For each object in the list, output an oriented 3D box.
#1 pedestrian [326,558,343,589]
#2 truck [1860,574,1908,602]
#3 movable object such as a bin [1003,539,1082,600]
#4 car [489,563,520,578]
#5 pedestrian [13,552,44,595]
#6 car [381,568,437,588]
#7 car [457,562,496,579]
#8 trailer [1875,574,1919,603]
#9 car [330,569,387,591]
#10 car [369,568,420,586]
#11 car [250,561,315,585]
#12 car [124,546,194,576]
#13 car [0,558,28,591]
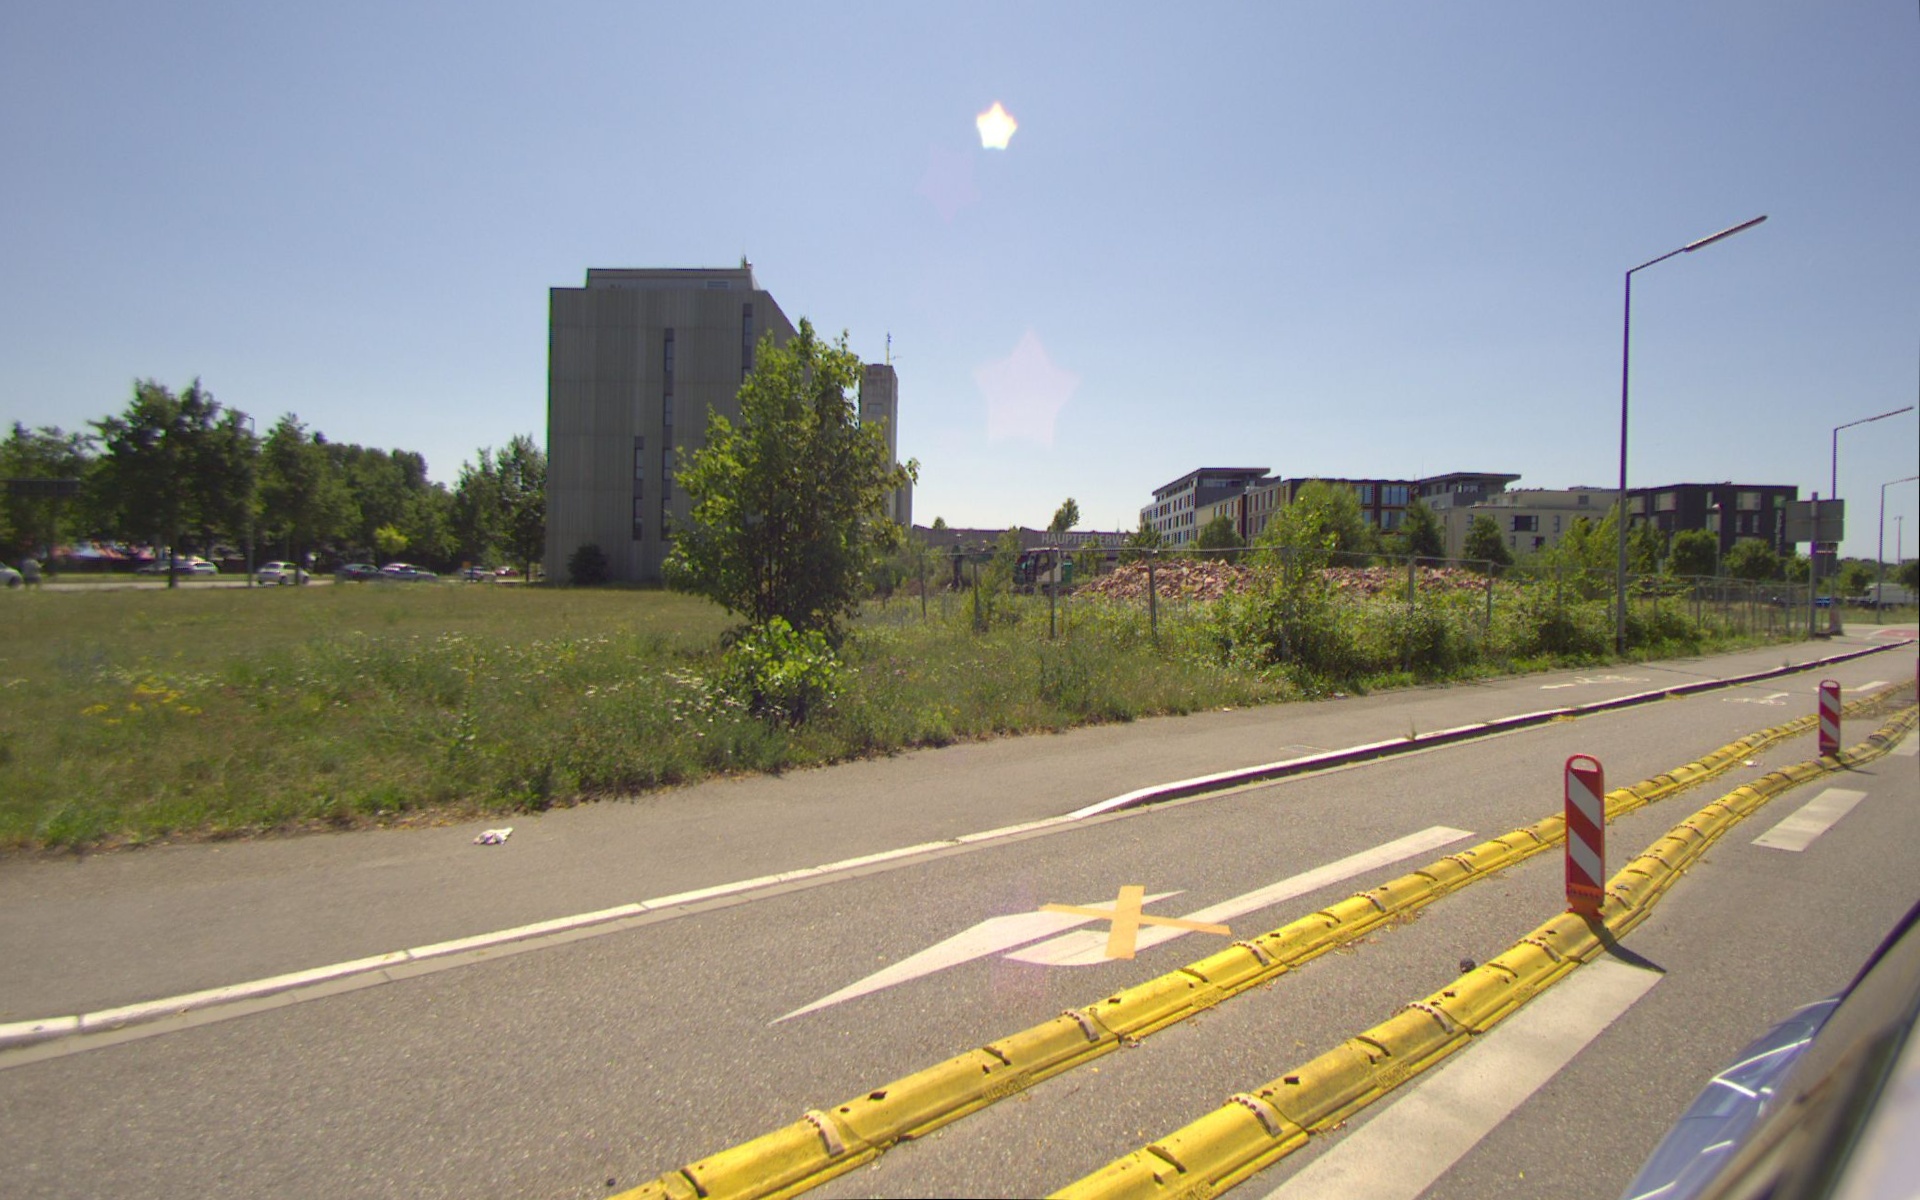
[{"bbox_3d":[-34.858,-1.499,56.404,0.489,1.712,0.737,0,0,-1],"label":"pedestrian"},{"bbox_3d":[115.281,-1.512,126.279,3.928,3.377,1.998,1,1,4],"label":"truck"},{"bbox_3d":[4.372,-1.599,53.492,3.619,3.101,2.207,0,1,-36],"label":"movable object such as a bin"},{"bbox_3d":[-57.606,-3.711,127.980,1.963,1.838,3.998,0,1,2],"label":"car"},{"bbox_3d":[-34.812,-0.972,37.819,0.489,1.583,0.737,0,0,-1],"label":"pedestrian"},{"bbox_3d":[-43.103,-1.687,79.277,1.965,1.523,4.069,0,1,6],"label":"car"},{"bbox_3d":[-45.406,-2.750,95.054,1.708,1.571,3.999,0,1,1],"label":"car"},{"bbox_3d":[119.077,-1.394,125.983,8.030,3.390,1.998,1,1,4],"label":"trailer"},{"bbox_3d":[-45.671,-1.488,76.913,1.707,1.572,4.407,0,-1,0],"label":"car"},{"bbox_3d":[-48.641,-1.962,87.166,1.708,1.571,4.641,0,1,1],"label":"car"},{"bbox_3d":[-45.843,-1.781,68.562,1.708,1.571,3.999,0,1,1],"label":"car"},{"bbox_3d":[-57.144,-2.738,72.292,1.962,2.039,4.001,0,1,-1],"label":"car"},{"bbox_3d":[-47.447,-1.227,48.601,1.708,1.571,3.999,0,1,1],"label":"car"}]
